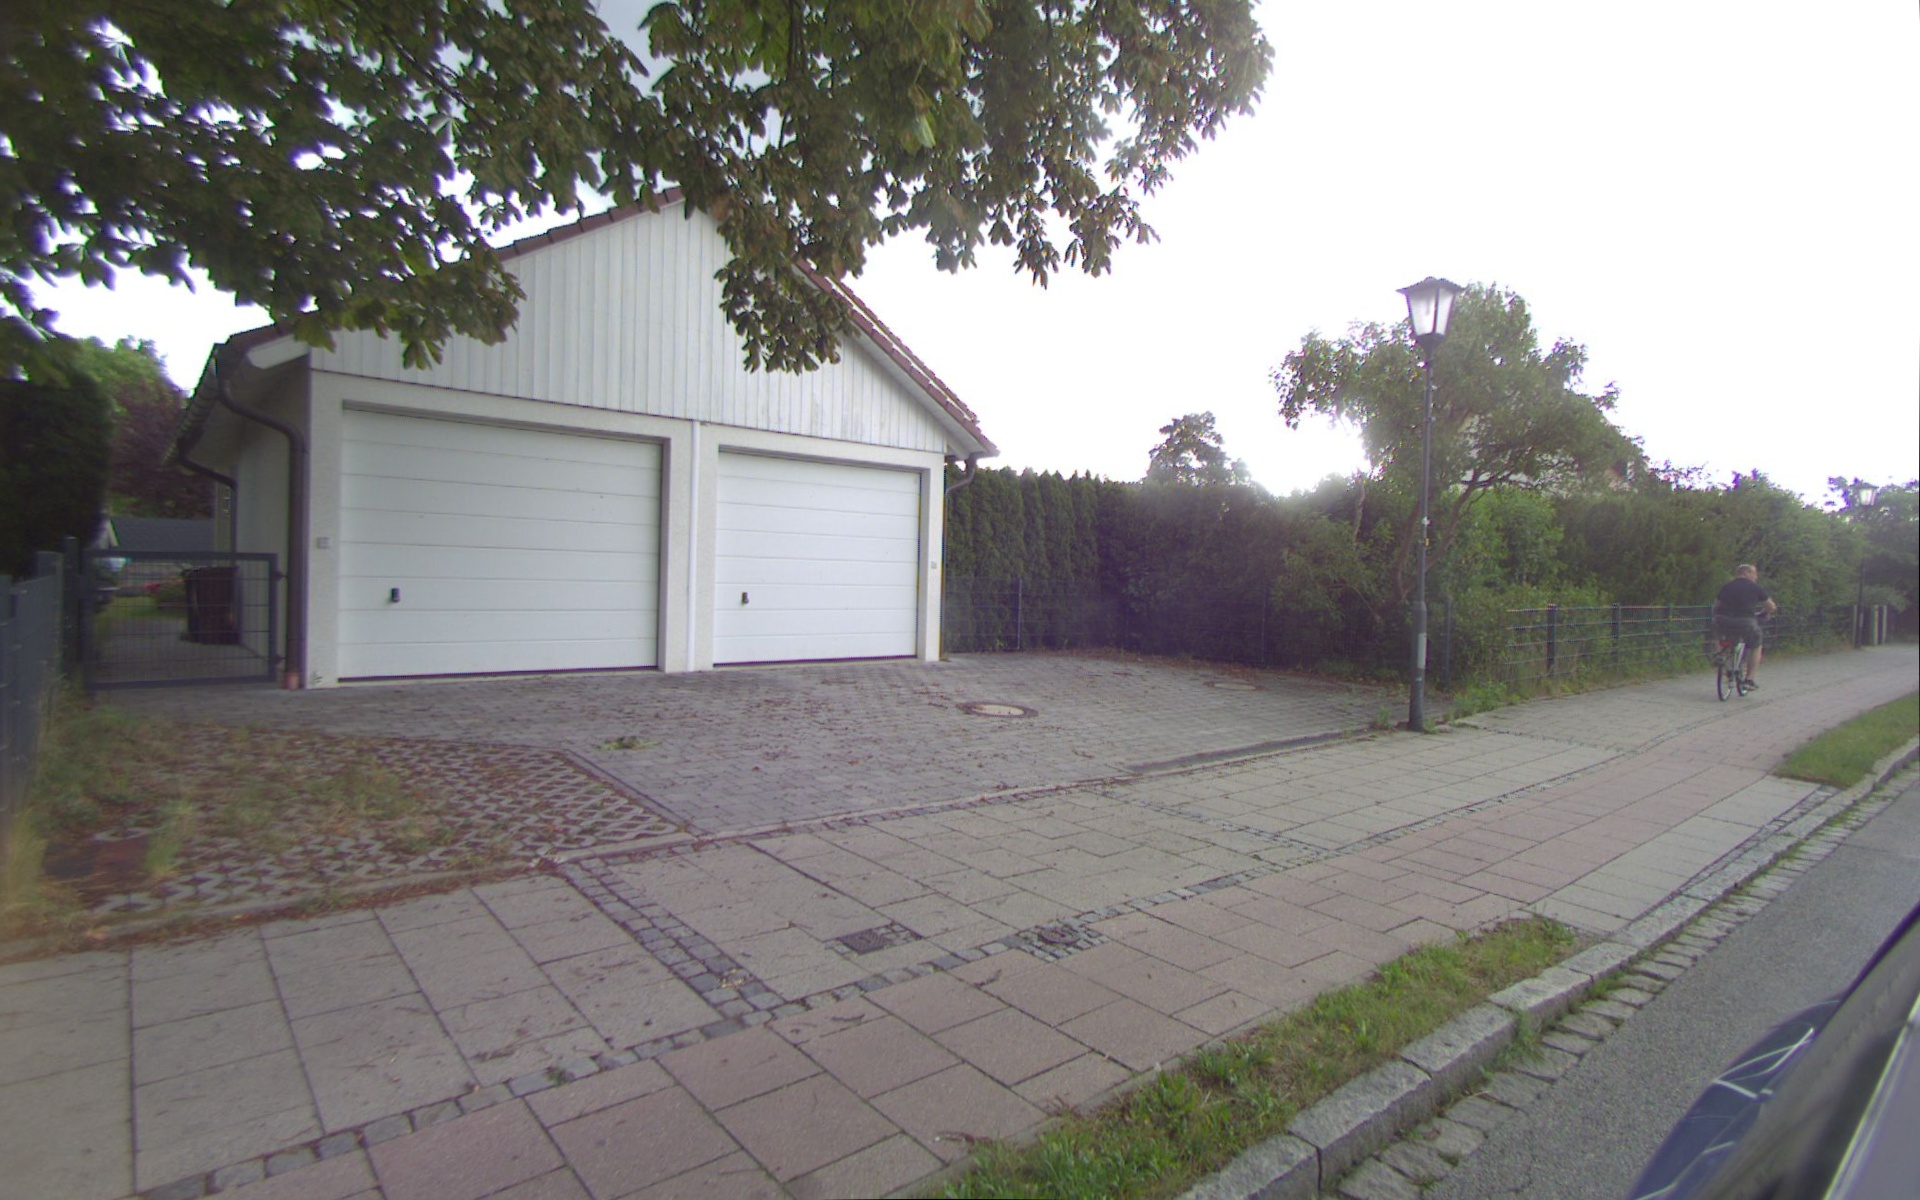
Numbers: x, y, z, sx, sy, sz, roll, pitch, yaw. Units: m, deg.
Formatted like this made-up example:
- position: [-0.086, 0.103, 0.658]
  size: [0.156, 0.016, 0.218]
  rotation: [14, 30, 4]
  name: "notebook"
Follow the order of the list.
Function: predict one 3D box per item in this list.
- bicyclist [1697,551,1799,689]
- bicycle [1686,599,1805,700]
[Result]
- position: [9.983, 0.234, 12.828]
  size: [0.874, 1.652, 0.739]
  rotation: [0, 3, -38]
  name: "bicyclist"
- position: [9.977, 0.584, 12.830]
  size: [1.812, 1.157, 0.766]
  rotation: [0, 2, -39]
  name: "bicycle"
